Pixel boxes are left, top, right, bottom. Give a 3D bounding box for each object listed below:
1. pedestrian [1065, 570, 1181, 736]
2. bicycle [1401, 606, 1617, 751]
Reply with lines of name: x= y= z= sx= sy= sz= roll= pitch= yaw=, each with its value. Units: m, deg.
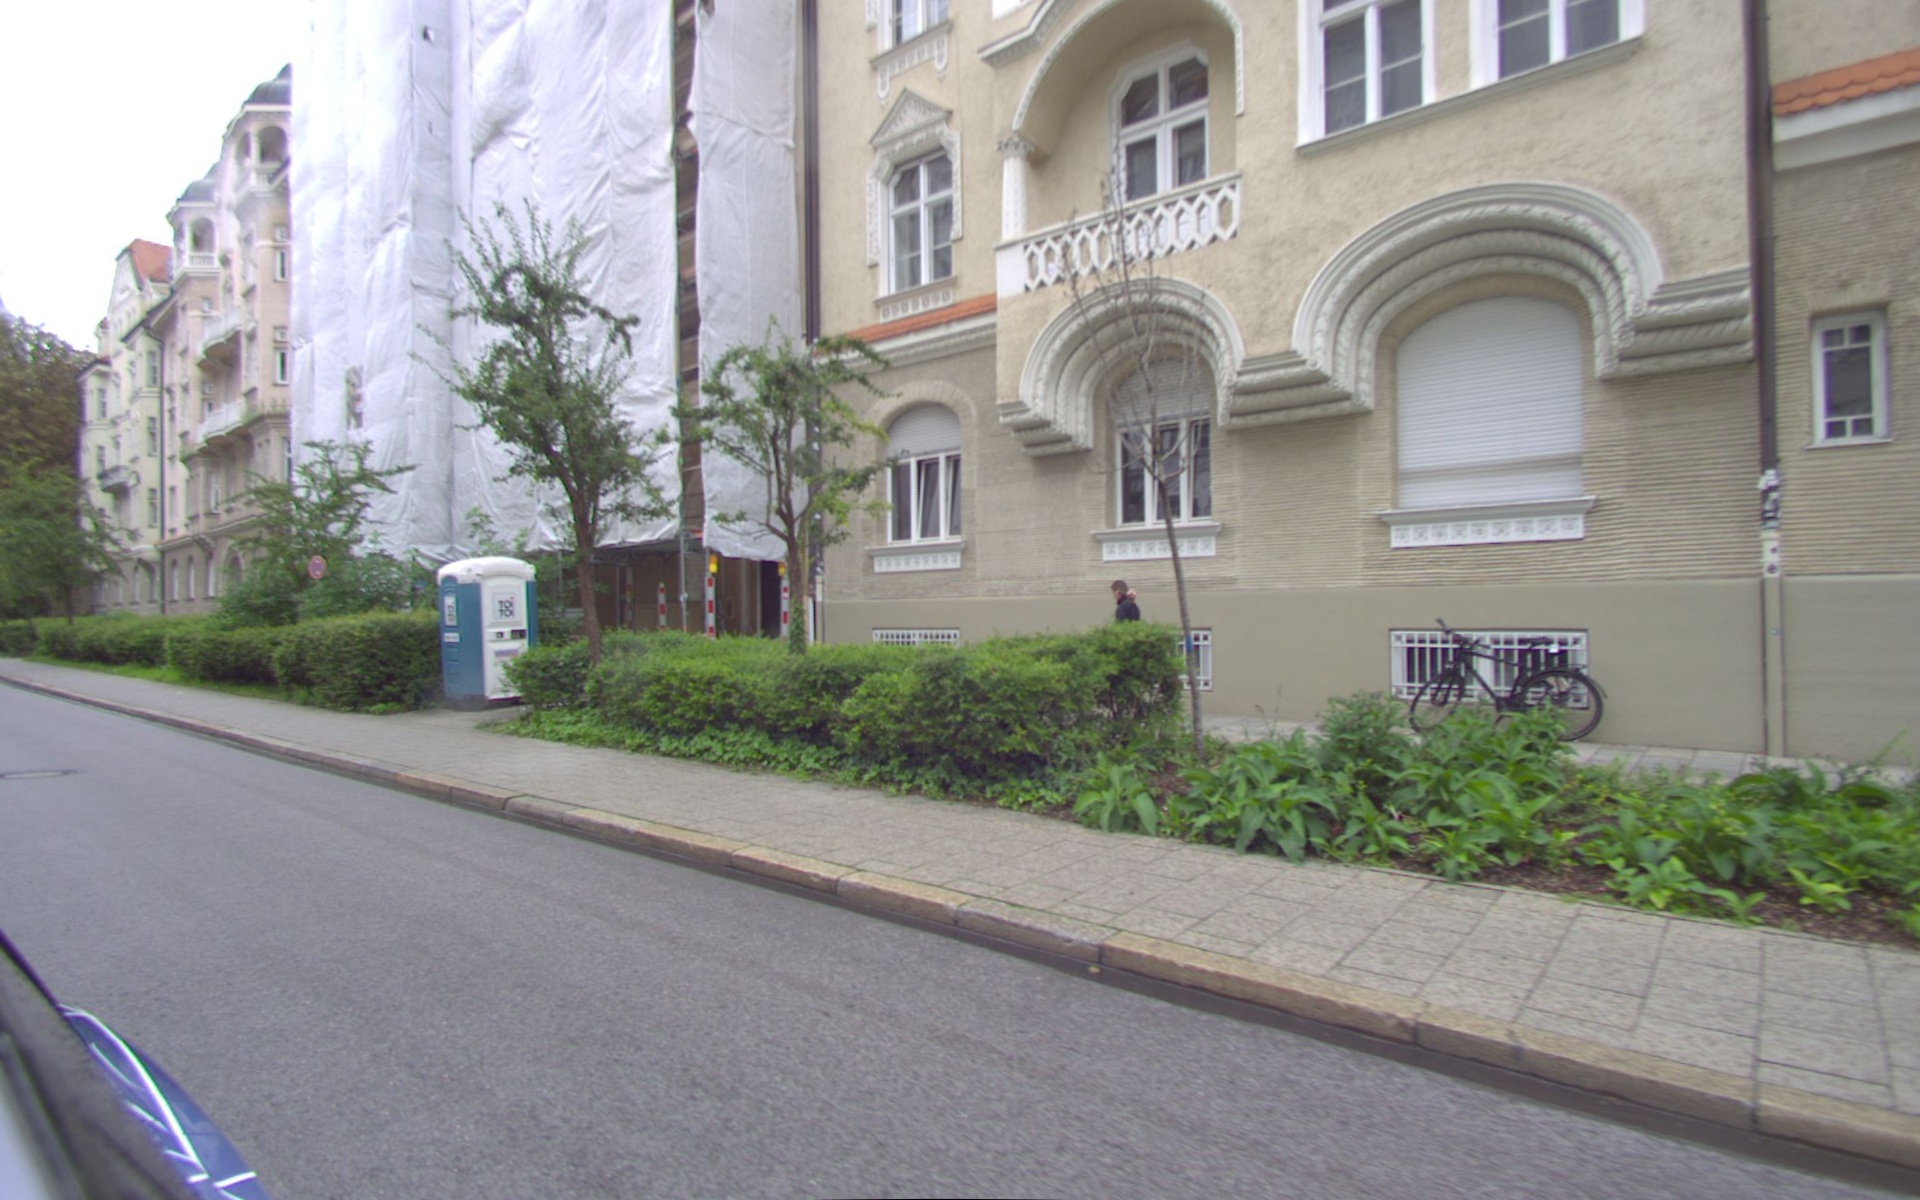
pedestrian: x=1.847 y=0.577 z=11.450 sx=0.947 sy=1.765 sz=0.904 roll=-2 pitch=-2 yaw=40
bicycle: x=5.308 y=0.720 z=9.841 sx=1.702 sy=1.285 sz=0.737 roll=-2 pitch=-1 yaw=42
